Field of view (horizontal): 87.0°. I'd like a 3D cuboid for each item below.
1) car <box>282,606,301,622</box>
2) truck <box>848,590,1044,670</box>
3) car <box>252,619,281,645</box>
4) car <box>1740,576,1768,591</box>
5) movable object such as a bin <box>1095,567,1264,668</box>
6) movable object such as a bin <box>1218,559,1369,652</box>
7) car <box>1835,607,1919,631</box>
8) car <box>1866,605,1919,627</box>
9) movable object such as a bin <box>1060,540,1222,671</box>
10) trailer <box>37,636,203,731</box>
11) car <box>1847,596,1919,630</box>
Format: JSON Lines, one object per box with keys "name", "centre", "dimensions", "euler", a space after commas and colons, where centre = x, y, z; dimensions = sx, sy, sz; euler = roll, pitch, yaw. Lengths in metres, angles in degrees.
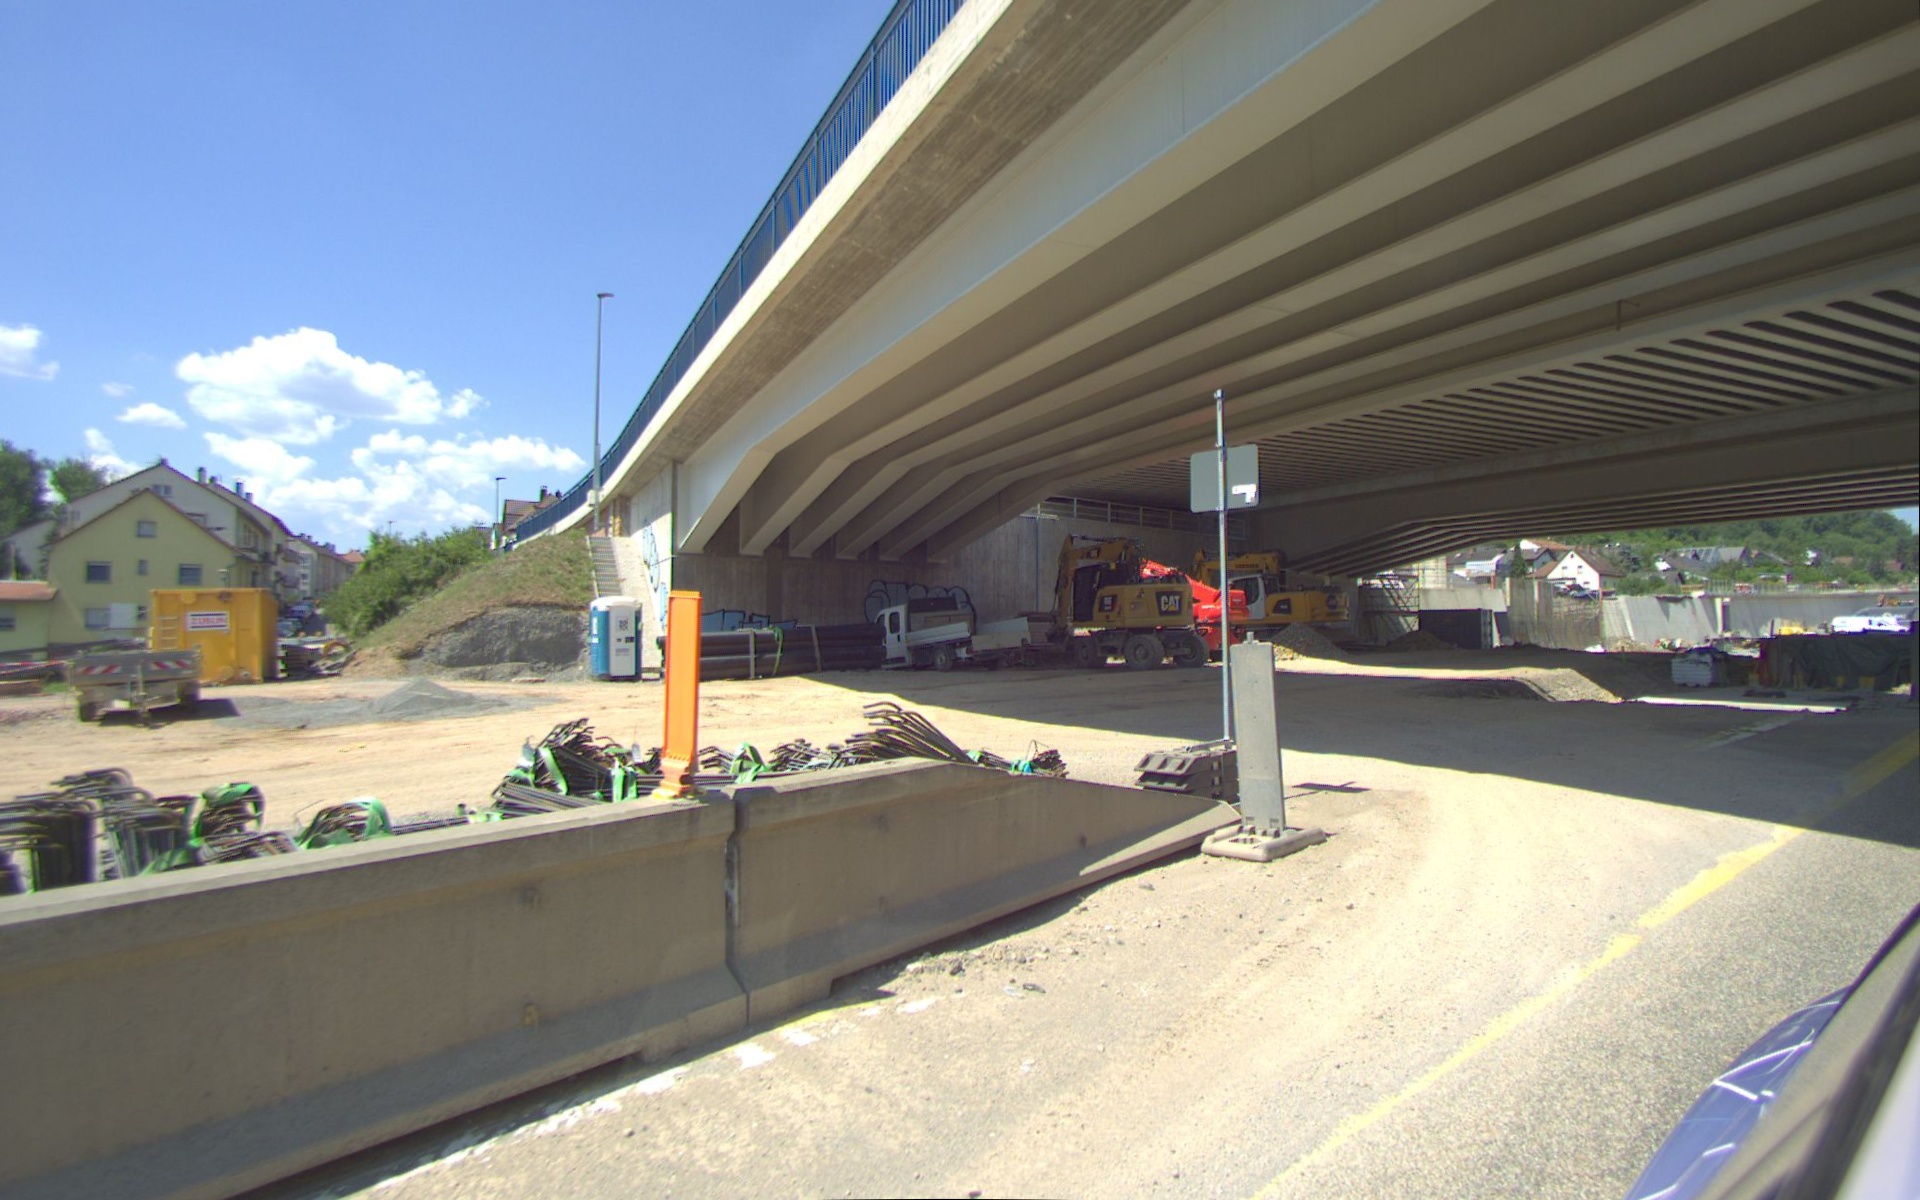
{"name": "car", "centre": [-68.767, 1.390, 104.083], "dimensions": [1.549, 1.527, 3.999], "euler": [-2, 1, -35]}
{"name": "truck", "centre": [-0.607, 0.853, 30.220], "dimensions": [2.615, 2.100, 6.540], "euler": [0, -1, -35]}
{"name": "car", "centre": [-46.608, 2.134, 67.998], "dimensions": [1.549, 1.527, 4.166], "euler": [-2, 1, -35]}
{"name": "car", "centre": [94.487, -1.985, 120.436], "dimensions": [4.526, 1.623, 1.657], "euler": [-3, 1, -40]}
{"name": "movable object such as a bin", "centre": [7.337, 0.591, 34.441], "dimensions": [2.449, 3.095, 5.255], "euler": [-2, -1, -34]}
{"name": "movable object such as a bin", "centre": [12.782, 0.231, 39.050], "dimensions": [2.934, 3.328, 4.567], "euler": [-2, -1, -34]}
{"name": "car", "centre": [74.408, 1.575, 82.192], "dimensions": [1.689, 1.792, 4.799], "euler": [0, -2, -38]}
{"name": "car", "centre": [77.465, 1.302, 83.536], "dimensions": [1.665, 1.707, 3.862], "euler": [-1, -1, -43]}
{"name": "movable object such as a bin", "centre": [5.356, 0.159, 30.442], "dimensions": [2.844, 3.587, 3.898], "euler": [-2, -1, -28]}
{"name": "trailer", "centre": [-14.897, 1.372, 18.113], "dimensions": [2.019, 1.235, 4.724], "euler": [-2, 1, -38]}
{"name": "car", "centre": [79.829, 1.063, 86.074], "dimensions": [6.272, 2.615, 2.026], "euler": [-4, -4, 39]}
